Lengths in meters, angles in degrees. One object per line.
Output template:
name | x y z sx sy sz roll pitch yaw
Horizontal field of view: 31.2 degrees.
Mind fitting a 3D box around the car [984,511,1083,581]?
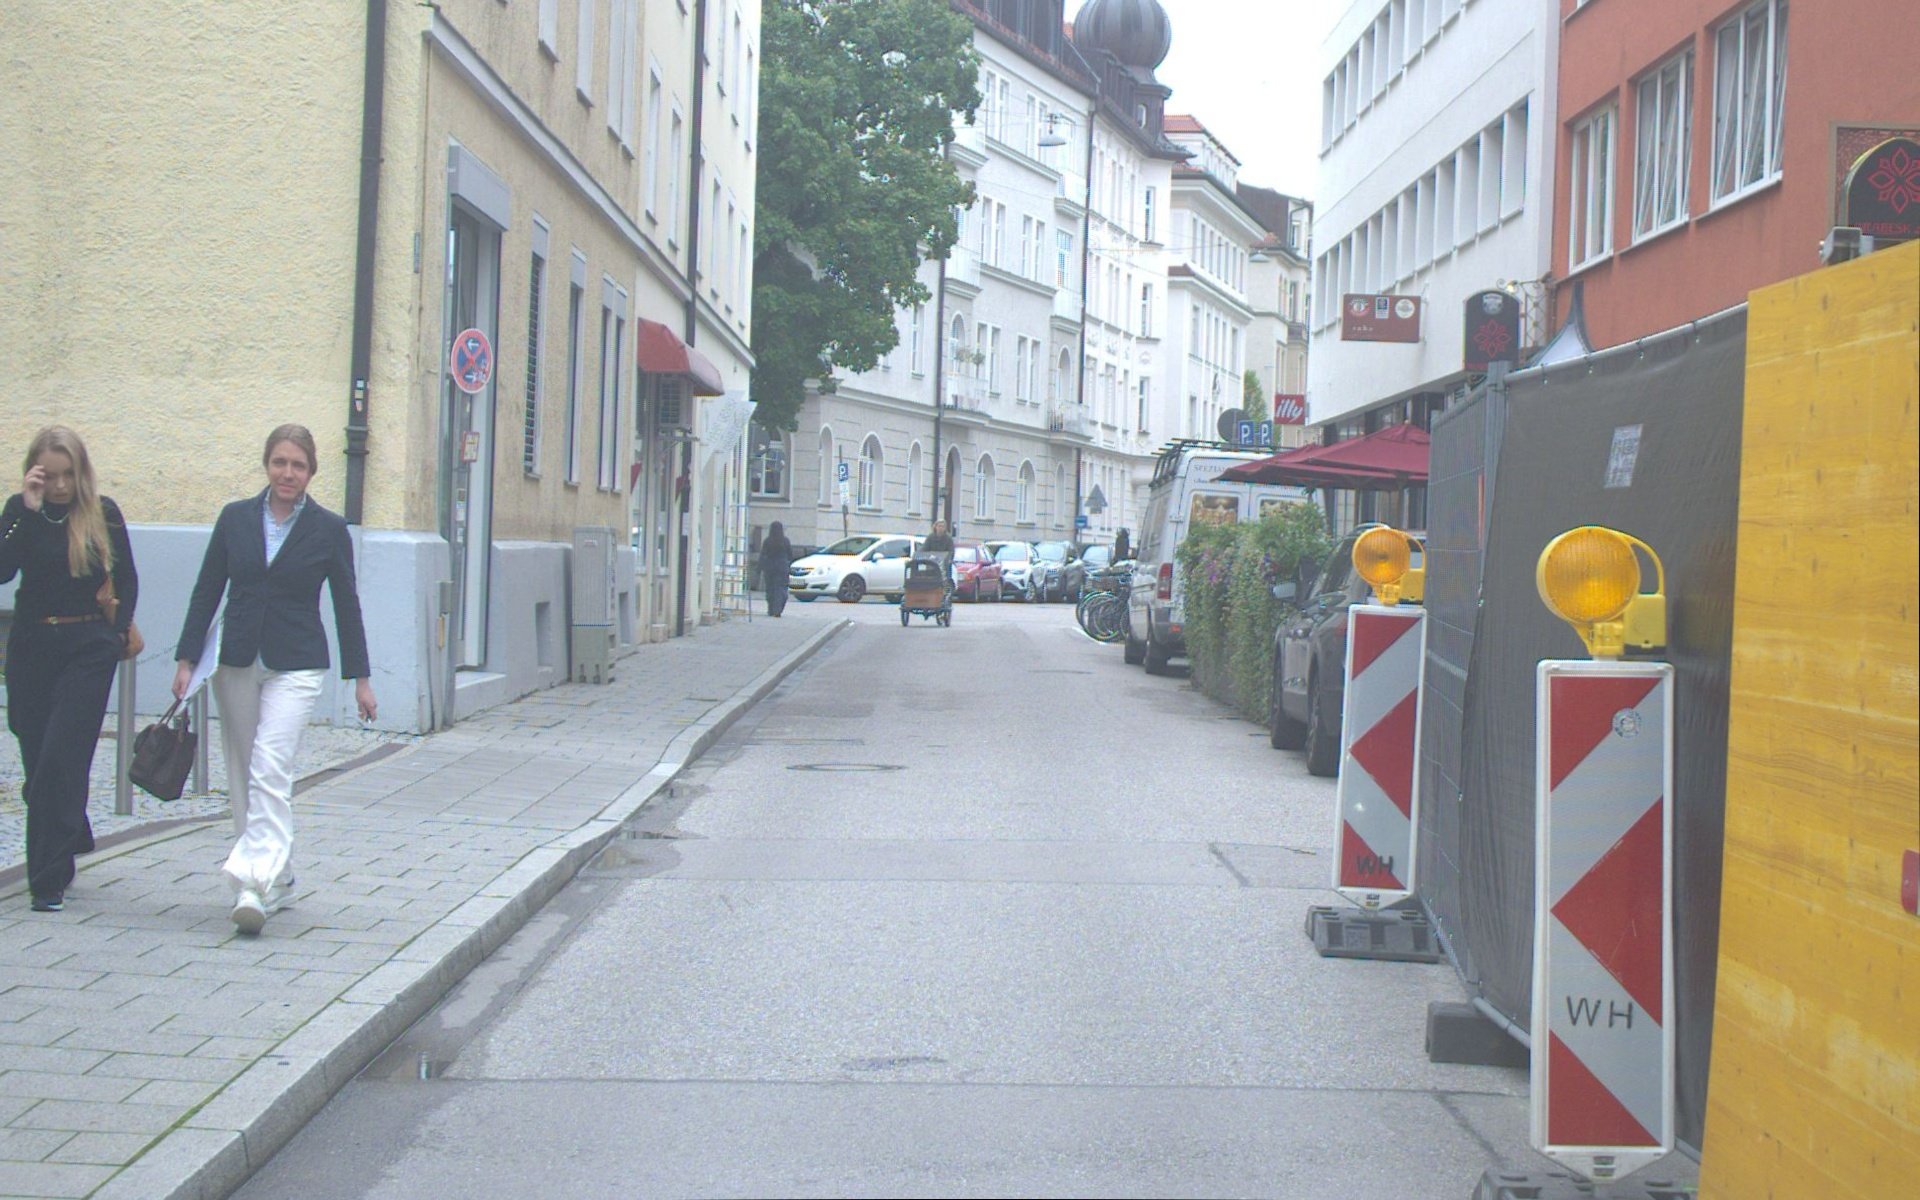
car | 1.959 -1.411 90.374 1.944 1.696 3.998 3 1 10

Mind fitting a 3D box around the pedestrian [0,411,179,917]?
pedestrian | -3.104 0.201 11.827 0.552 1.654 0.997 2 1 -1

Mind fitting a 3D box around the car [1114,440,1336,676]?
car | 3.051 -0.527 40.849 1.920 2.497 5.997 3 1 -1

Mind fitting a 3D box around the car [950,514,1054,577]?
car | 1.067 -1.344 85.444 1.994 1.468 4.217 3 1 8

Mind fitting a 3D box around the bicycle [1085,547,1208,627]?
bicycle | 2.929 -0.204 54.075 1.873 1.200 0.580 1 1 -2

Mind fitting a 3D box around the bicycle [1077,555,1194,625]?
bicycle | 2.911 -0.168 57.088 1.873 1.076 0.408 2 2 -3

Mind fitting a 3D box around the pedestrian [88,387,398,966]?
pedestrian | -2.387 0.240 11.553 0.775 1.830 0.991 2 1 -1

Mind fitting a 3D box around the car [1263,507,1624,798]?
car | 3.182 0.286 23.452 1.824 1.704 4.389 3 1 1

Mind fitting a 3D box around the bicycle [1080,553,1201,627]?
bicycle | 2.896 -0.161 55.248 1.873 1.091 0.440 2 2 -3

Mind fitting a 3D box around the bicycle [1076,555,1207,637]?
bicycle | 2.748 -0.061 52.144 1.873 1.104 0.488 4 2 -2

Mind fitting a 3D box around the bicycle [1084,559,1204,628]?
bicycle | 2.989 -0.100 55.951 1.873 1.048 0.564 2 -1 -3

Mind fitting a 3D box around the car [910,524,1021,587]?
car | 0.158 -1.031 80.728 1.731 1.373 4.224 3 1 12

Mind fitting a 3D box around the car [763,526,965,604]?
car | -2.029 -0.739 72.856 3.758 1.572 2.000 1 0 -31

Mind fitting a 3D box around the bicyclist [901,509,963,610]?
bicyclist | -0.478 -0.707 59.346 0.926 1.715 1.099 1 1 6

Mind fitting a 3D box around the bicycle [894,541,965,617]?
bicycle | -0.512 -0.362 59.088 0.932 1.253 2.413 1 0 6

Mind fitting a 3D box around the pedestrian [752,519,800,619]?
pedestrian | -3.066 -0.523 57.336 0.693 1.626 0.663 3 1 -1

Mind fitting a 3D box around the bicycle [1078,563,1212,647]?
bicycle | 2.739 0.072 51.016 1.873 1.076 0.488 4 2 -2
